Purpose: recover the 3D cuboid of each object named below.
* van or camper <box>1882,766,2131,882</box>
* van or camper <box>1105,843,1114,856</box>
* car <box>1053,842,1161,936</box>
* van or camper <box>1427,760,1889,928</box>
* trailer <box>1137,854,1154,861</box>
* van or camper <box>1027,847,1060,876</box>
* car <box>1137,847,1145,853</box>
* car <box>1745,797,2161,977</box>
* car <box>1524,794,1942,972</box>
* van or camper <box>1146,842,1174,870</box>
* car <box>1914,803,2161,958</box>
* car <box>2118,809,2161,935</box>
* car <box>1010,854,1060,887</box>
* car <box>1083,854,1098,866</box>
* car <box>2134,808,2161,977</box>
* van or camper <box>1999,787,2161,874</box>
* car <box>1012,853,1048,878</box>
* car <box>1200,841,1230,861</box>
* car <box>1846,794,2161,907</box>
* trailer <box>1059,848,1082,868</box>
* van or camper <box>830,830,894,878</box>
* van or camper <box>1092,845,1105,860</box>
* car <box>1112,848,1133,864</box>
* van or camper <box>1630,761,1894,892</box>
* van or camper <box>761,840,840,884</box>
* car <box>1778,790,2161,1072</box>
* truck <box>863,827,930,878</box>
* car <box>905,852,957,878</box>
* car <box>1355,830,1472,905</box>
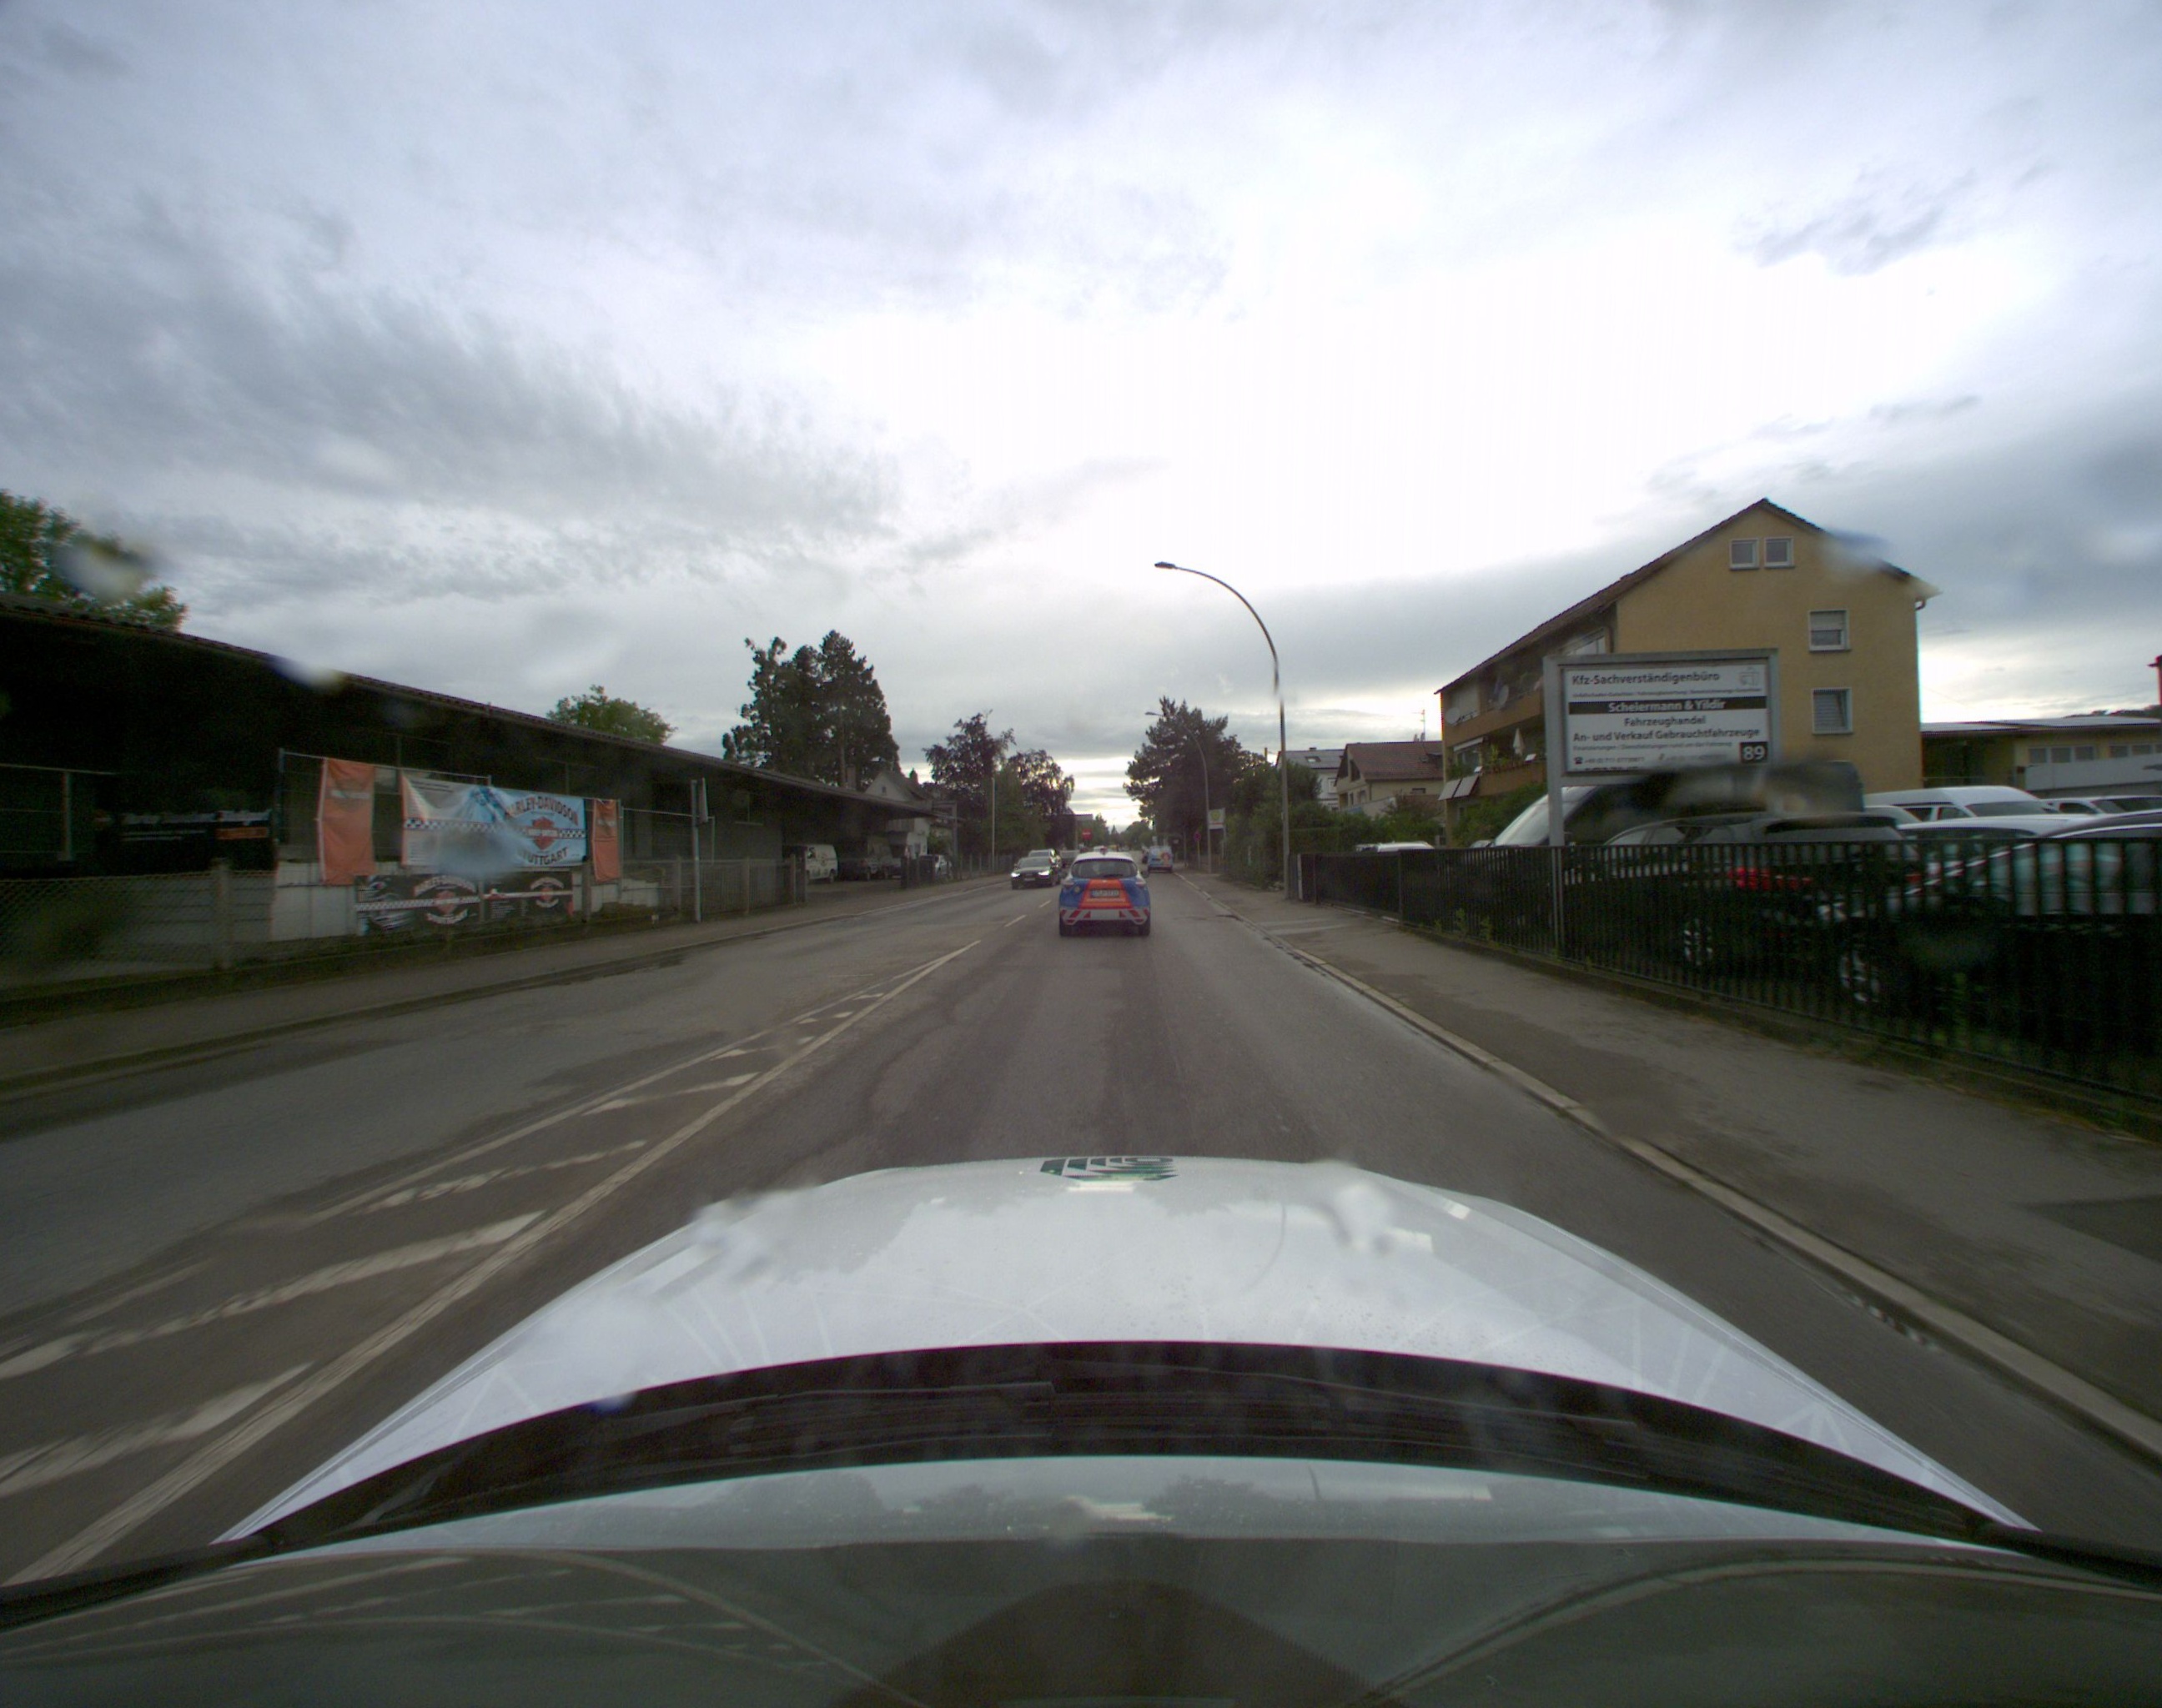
[{"bbox_3d":[21.720,-0.565,19.444,2.061,2.410,4.420,0,-2,21],"label":"van or camper"},{"bbox_3d":[6.432,-0.937,181.869,1.985,2.775,5.444,-1,0,3],"label":"van or camper"},{"bbox_3d":[0.530,0.622,16.550,1.881,1.632,4.002,-2,0,2],"label":"car"},{"bbox_3d":[9.036,-0.113,13.258,5.879,2.486,2.133,0,-2,3],"label":"van or camper"},{"bbox_3d":[7.894,0.446,100.108,1.930,0.754,2.861,-1,0,2],"label":"trailer"},{"bbox_3d":[-2.729,0.588,60.729,1.882,2.014,5.101,1,-2,3],"label":"van or camper"},{"bbox_3d":[17.104,-1.060,232.848,1.985,1.585,4.003,-1,0,3],"label":"car"},{"bbox_3d":[9.680,0.351,9.057,1.653,1.567,4.006,1,-2,6],"label":"car"},{"bbox_3d":[7.065,0.324,9.587,1.653,1.567,4.574,1,-2,6],"label":"car"},{"bbox_3d":[5.625,0.115,58.060,1.747,1.883,4.003,-2,0,3],"label":"van or camper"},{"bbox_3d":[11.785,0.301,8.849,1.653,1.567,4.006,1,-2,6],"label":"car"},{"bbox_3d":[14.358,0.195,8.742,1.621,1.599,3.973,1,-2,6],"label":"car"},{"bbox_3d":[-2.109,0.824,38.812,1.734,1.451,4.548,1,-2,5],"label":"car"},{"bbox_3d":[1.360,0.829,117.827,1.986,1.596,4.002,1,-2,2],"label":"car"},{"bbox_3d":[9.316,0.261,4.676,1.727,1.354,3.912,1,-2,7],"label":"car"},{"bbox_3d":[24.412,-0.465,19.183,1.798,1.821,4.016,0,-2,16],"label":"van or camper"},{"bbox_3d":[-3.285,0.769,53.382,1.734,1.480,4.188,-3,-2,4],"label":"car"},{"bbox_3d":[10.861,-0.258,66.278,1.985,1.486,4.003,-2,0,3],"label":"car"},{"bbox_3d":[14.787,-0.016,12.491,4.301,1.483,1.712,2,-2,7],"label":"car"},{"bbox_3d":[-1.082,0.476,86.918,2.212,2.014,4.438,1,-2,2],"label":"trailer"},{"bbox_3d":[-11.938,0.079,44.777,1.852,2.438,5.236,1,-2,2],"label":"van or camper"},{"bbox_3d":[3.042,-0.267,141.676,2.152,2.353,4.336,-1,0,3],"label":"van or camper"},{"bbox_3d":[4.313,0.230,84.074,1.984,1.420,4.007,-3,1,5],"label":"car"},{"bbox_3d":[16.211,-0.471,19.997,2.047,2.680,6.032,-1,-2,8],"label":"van or camper"},{"bbox_3d":[-12.958,0.349,37.922,1.986,1.909,4.473,1,0,2],"label":"van or camper"},{"bbox_3d":[6.446,0.406,4.607,1.653,1.456,4.251,1,0,5],"label":"car"},{"bbox_3d":[-11.331,-0.067,50.483,2.384,2.927,5.962,1,-1,4],"label":"truck"},{"bbox_3d":[-8.872,0.663,48.512,1.927,1.444,4.787,0,-1,4],"label":"car"},{"bbox_3d":[8.285,0.374,20.773,2.105,1.651,5.255,0,-2,15],"label":"car"}]
